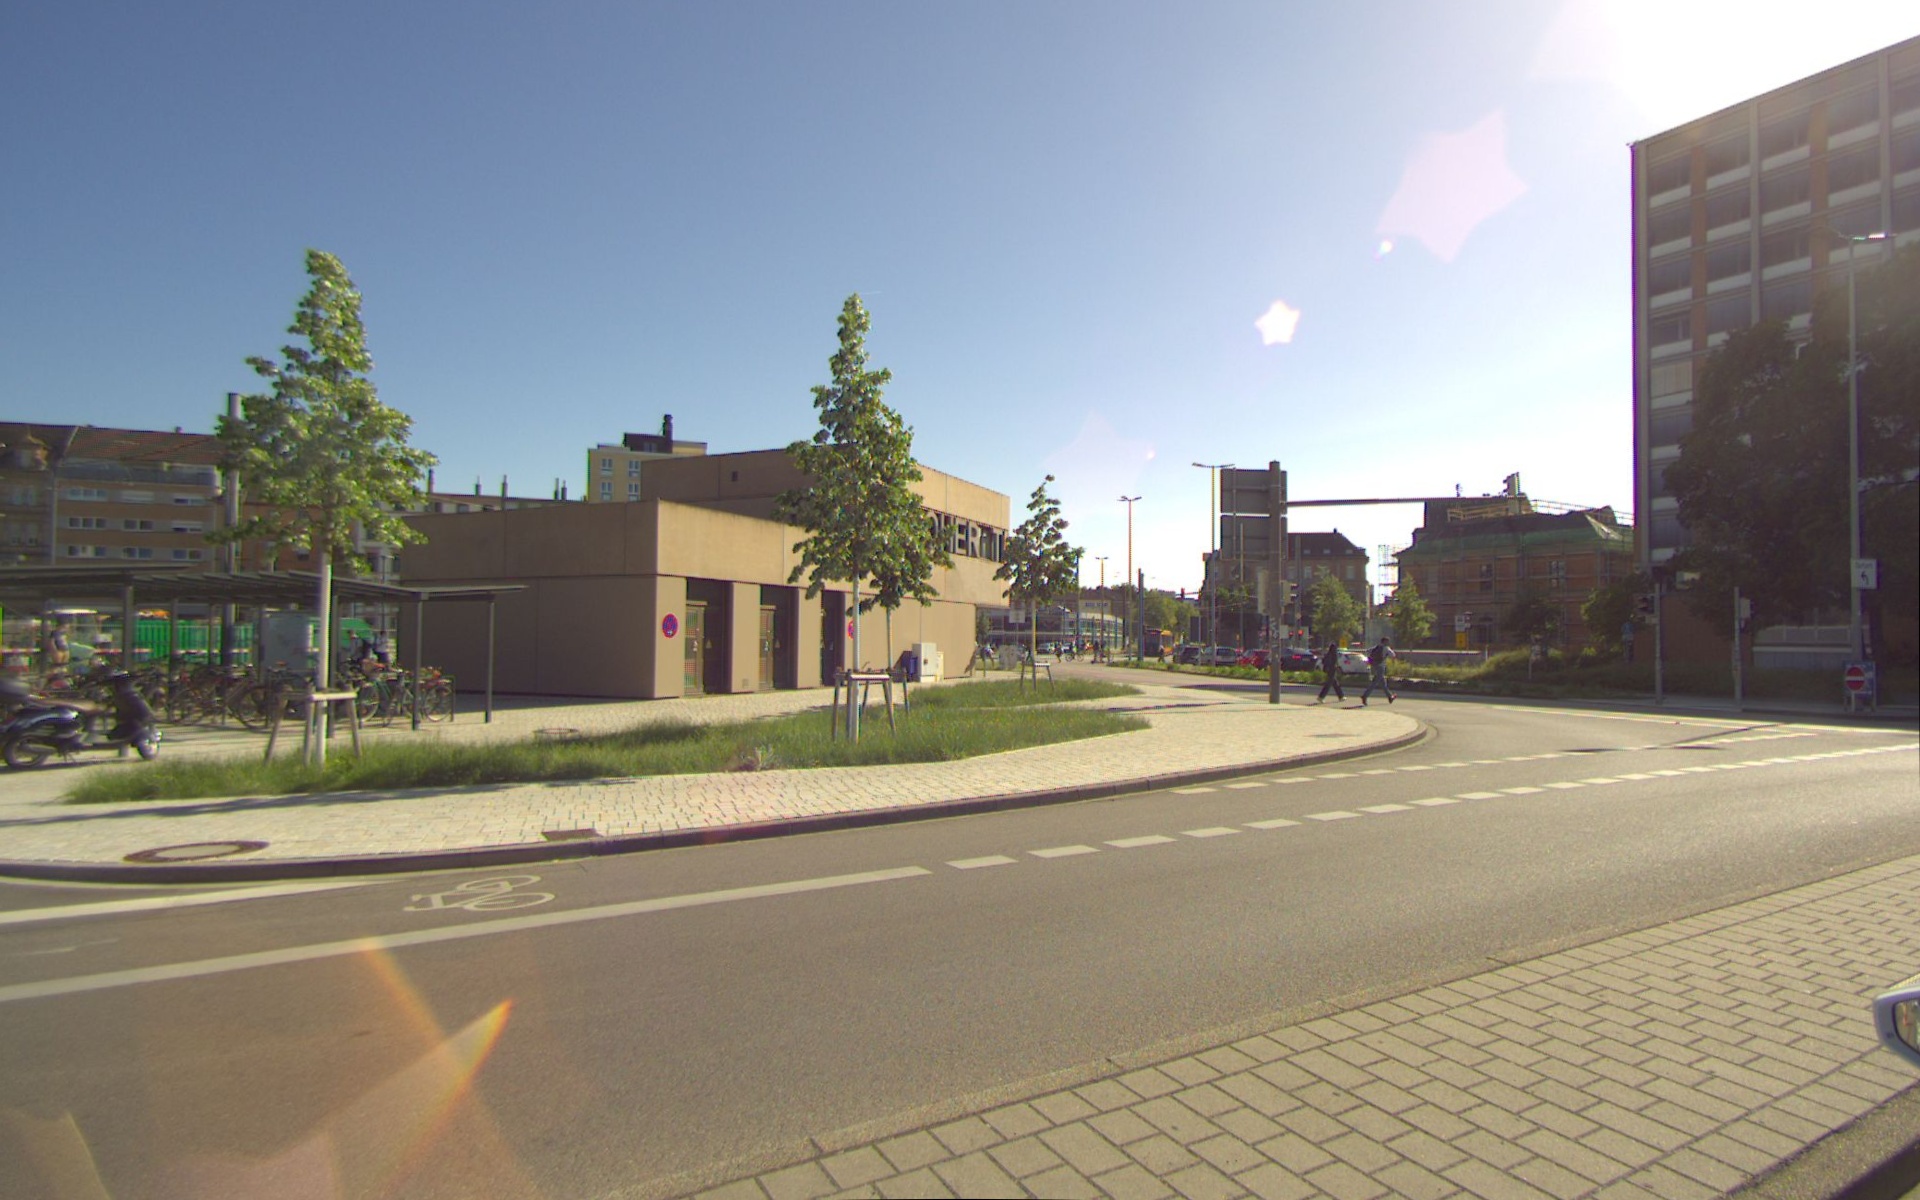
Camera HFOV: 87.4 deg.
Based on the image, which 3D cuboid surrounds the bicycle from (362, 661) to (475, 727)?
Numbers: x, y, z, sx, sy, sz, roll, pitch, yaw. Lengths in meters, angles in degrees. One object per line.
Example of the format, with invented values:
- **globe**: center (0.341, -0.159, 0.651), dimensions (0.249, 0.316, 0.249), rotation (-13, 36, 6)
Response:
- **bicycle**: center (-9.924, 1.698, 18.494), dimensions (0.449, 1.112, 1.902), rotation (0, -2, 26)

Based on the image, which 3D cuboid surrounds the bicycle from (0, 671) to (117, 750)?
- **bicycle**: center (-13.026, 1.538, 14.019), dimensions (0.449, 1.022, 1.902), rotation (0, -2, 26)

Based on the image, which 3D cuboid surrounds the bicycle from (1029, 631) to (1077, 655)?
- **bicycle**: center (8.529, 3.919, 91.902), dimensions (3.922, 2.040, 2.000), rotation (0, -2, 22)

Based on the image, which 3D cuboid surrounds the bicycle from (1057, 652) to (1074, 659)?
- **bicycle**: center (8.873, 4.667, 84.493), dimensions (1.381, 0.556, 0.435), rotation (0, -2, 11)

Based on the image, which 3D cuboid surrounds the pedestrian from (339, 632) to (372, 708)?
- **pedestrian**: center (-16.734, 1.922, 27.804), dimensions (0.710, 2.040, 0.682), rotation (1, -2, -30)

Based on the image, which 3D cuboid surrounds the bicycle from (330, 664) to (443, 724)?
- **bicycle**: center (-10.704, 1.735, 18.823), dimensions (0.449, 1.022, 1.902), rotation (0, -2, 26)

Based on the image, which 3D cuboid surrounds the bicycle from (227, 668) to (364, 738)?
- **bicycle**: center (-10.907, 1.664, 16.574), dimensions (0.449, 1.022, 1.902), rotation (0, -2, 26)

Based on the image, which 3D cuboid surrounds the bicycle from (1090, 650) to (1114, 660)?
- **bicycle**: center (13.881, 5.386, 98.346), dimensions (2.207, 0.894, 0.892), rotation (1, -2, -19)

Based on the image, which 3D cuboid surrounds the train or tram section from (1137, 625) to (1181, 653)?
- **train or tram section**: center (25.243, 4.911, 127.166), dimensions (2.651, 3.275, 10.589), rotation (2, 0, 27)

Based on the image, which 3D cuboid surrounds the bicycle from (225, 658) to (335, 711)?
- **bicycle**: center (-14.069, 1.730, 20.833), dimensions (0.449, 1.022, 1.902), rotation (0, -2, 26)

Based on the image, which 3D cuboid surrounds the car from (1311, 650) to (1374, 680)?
- **car**: center (21.258, 3.595, 55.936), dimensions (1.760, 1.528, 3.880), rotation (1, -2, -6)

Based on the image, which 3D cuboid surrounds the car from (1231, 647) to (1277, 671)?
- **car**: center (20.215, 4.034, 69.253), dimensions (1.760, 1.528, 3.880), rotation (1, -2, -6)

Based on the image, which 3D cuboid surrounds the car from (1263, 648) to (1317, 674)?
- **car**: center (20.585, 3.769, 62.792), dimensions (1.760, 1.528, 3.880), rotation (1, -2, -6)

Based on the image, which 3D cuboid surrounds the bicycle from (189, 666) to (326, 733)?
- **bicycle**: center (-11.886, 1.653, 17.063), dimensions (0.449, 1.022, 1.902), rotation (0, -2, 26)

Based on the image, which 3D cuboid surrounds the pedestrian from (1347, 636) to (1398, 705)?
- **pedestrian**: center (10.692, 1.817, 26.058), dimensions (1.044, 1.753, 0.652), rotation (1, -2, -16)

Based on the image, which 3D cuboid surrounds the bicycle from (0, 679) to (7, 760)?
- **bicycle**: center (-12.742, 1.486, 12.007), dimensions (0.449, 1.022, 1.902), rotation (0, -2, 26)

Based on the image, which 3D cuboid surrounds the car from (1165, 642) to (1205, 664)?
- **car**: center (16.786, 3.932, 75.000), dimensions (1.760, 1.528, 3.880), rotation (1, -2, -6)

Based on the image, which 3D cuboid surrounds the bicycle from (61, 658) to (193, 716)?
- **bicycle**: center (-15.914, 1.645, 19.244), dimensions (0.449, 1.022, 1.902), rotation (0, -2, 26)

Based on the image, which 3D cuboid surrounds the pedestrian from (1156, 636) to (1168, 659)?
- **pedestrian**: center (16.877, 3.999, 83.906), dimensions (0.861, 1.889, 0.731), rotation (1, -2, -4)

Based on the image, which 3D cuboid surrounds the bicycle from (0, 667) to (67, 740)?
- **bicycle**: center (-14.156, 1.509, 14.450), dimensions (0.449, 1.022, 1.902), rotation (0, -2, 26)

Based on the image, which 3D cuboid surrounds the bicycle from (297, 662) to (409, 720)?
- **bicycle**: center (-11.793, 1.745, 19.581), dimensions (0.449, 1.022, 1.902), rotation (0, -2, 26)

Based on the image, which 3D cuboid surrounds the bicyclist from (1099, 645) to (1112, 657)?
- **bicyclist**: center (14.230, 5.002, 98.480), dimensions (0.953, 1.182, 0.892), rotation (1, -2, -19)

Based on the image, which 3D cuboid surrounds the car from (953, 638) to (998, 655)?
- **car**: center (1.673, 5.088, 109.649), dimensions (4.460, 1.870, 2.067), rotation (2, -2, -28)

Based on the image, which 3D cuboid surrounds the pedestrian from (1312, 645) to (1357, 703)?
- **pedestrian**: center (10.254, 2.020, 27.536), dimensions (0.964, 1.547, 0.652), rotation (1, -2, -16)

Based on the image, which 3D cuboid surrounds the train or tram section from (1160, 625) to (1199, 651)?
- **train or tram section**: center (29.973, 5.102, 136.652), dimensions (2.651, 3.275, 10.589), rotation (2, 0, 27)

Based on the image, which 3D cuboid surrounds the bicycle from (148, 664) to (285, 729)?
- **bicycle**: center (-12.895, 1.650, 17.494), dimensions (0.449, 1.022, 1.902), rotation (0, -2, 26)

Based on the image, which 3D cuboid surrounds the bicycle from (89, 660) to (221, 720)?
- **bicycle**: center (-15.078, 1.657, 18.869), dimensions (0.449, 1.022, 1.902), rotation (0, -2, 26)

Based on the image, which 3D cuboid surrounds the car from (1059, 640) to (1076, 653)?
- **car**: center (15.186, 6.556, 141.655), dimensions (1.709, 1.672, 4.002), rotation (0, -2, 17)

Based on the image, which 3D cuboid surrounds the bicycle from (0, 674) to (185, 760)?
- **bicycle**: center (-11.811, 1.557, 13.727), dimensions (0.449, 1.022, 1.902), rotation (0, -2, 26)

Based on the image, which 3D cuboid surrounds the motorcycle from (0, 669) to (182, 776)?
- **motorcycle**: center (-10.917, 1.477, 12.474), dimensions (0.508, 1.166, 1.947), rotation (0, -2, 25)

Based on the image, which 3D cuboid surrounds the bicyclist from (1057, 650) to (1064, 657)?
- **bicyclist**: center (8.469, 4.504, 84.578), dimensions (0.560, 0.556, 0.431), rotation (0, -2, 11)

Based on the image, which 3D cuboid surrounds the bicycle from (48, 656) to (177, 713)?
- **bicycle**: center (-16.696, 1.640, 19.843), dimensions (0.449, 1.022, 1.902), rotation (0, -2, 26)

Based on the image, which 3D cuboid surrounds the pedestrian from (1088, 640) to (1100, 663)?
- **pedestrian**: center (11.153, 4.274, 83.572), dimensions (0.862, 1.889, 0.730), rotation (1, -2, -9)

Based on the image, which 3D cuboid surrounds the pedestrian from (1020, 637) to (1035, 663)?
- **pedestrian**: center (5.493, 4.063, 81.557), dimensions (1.023, 2.040, 0.724), rotation (1, -2, -9)

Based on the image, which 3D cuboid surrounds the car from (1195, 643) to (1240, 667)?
- **car**: center (17.467, 3.696, 68.274), dimensions (1.760, 1.528, 3.880), rotation (1, -2, -6)
